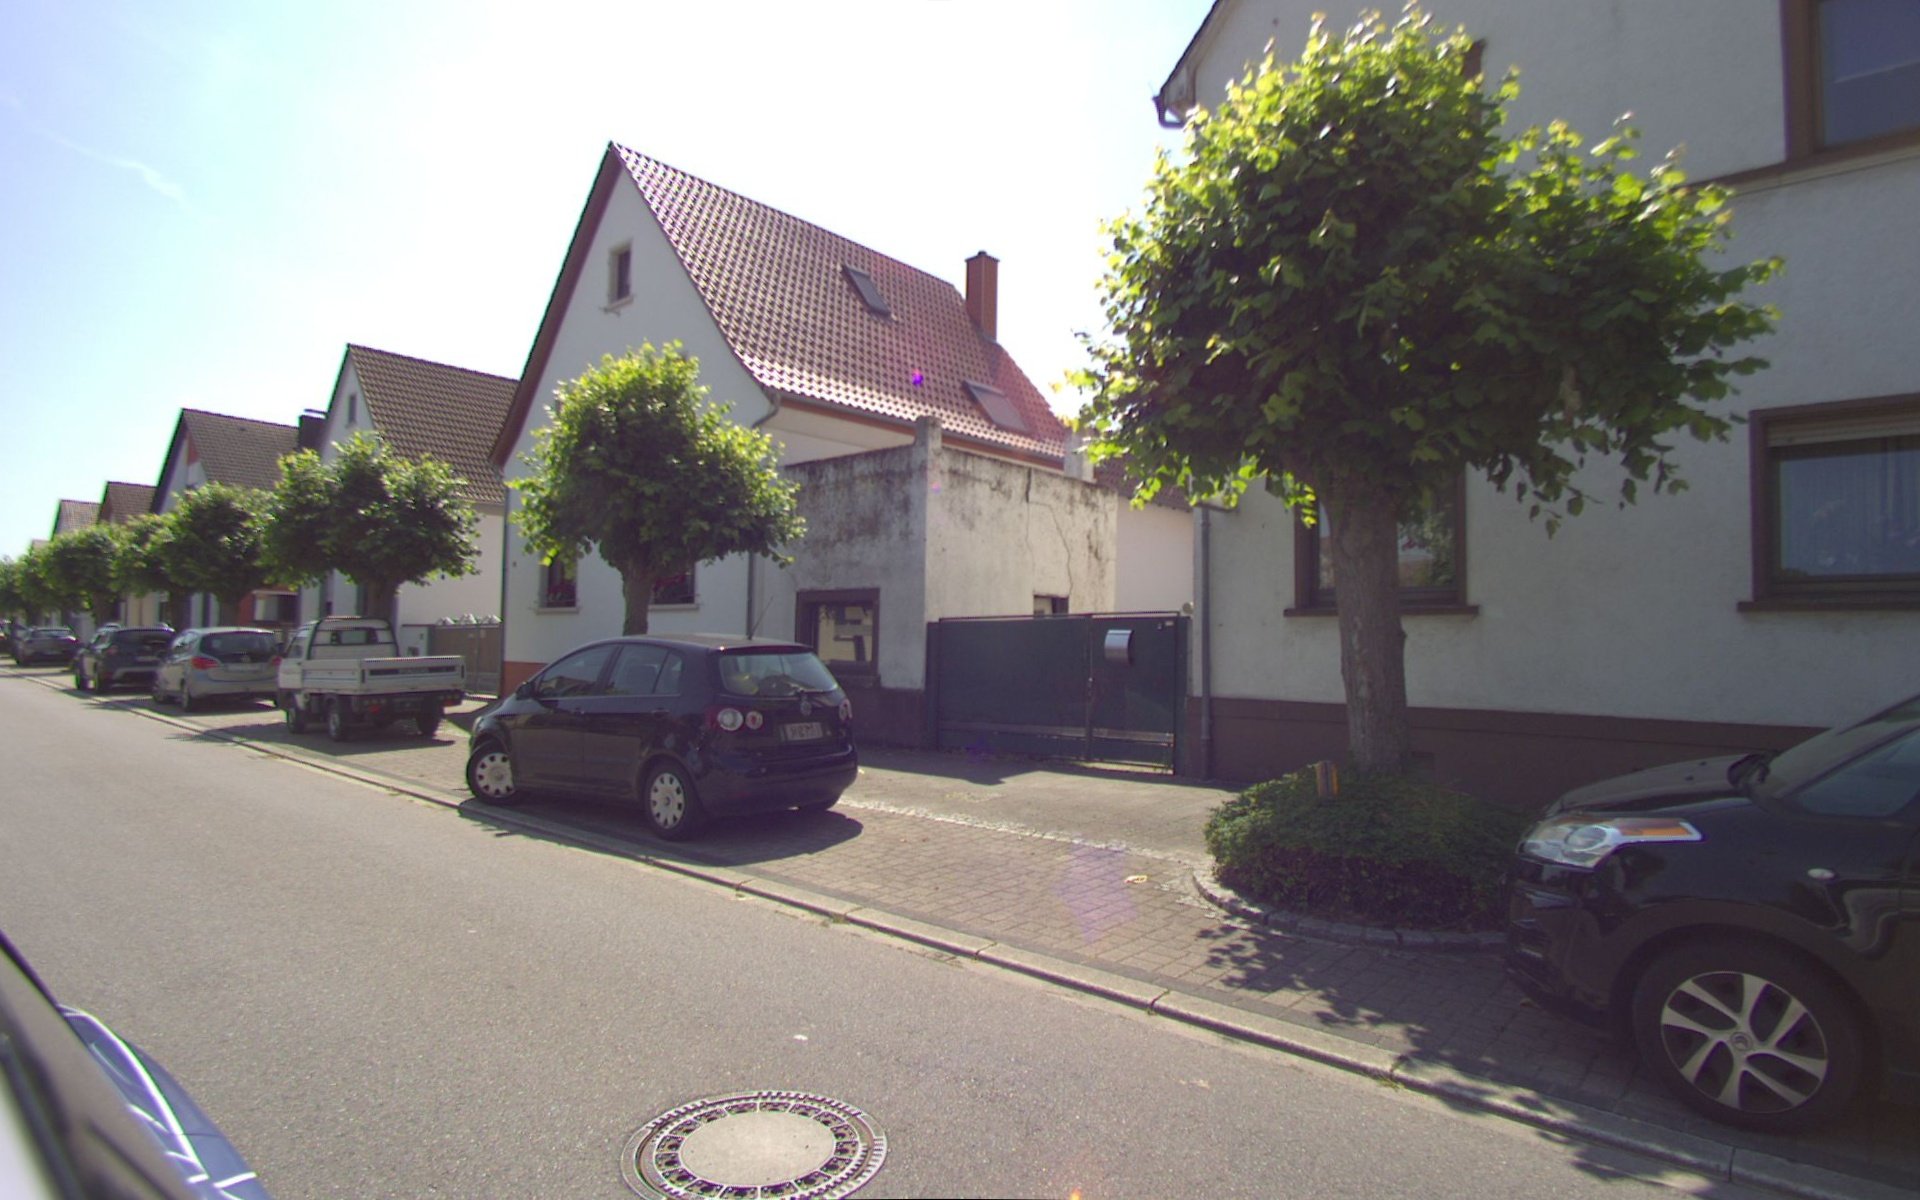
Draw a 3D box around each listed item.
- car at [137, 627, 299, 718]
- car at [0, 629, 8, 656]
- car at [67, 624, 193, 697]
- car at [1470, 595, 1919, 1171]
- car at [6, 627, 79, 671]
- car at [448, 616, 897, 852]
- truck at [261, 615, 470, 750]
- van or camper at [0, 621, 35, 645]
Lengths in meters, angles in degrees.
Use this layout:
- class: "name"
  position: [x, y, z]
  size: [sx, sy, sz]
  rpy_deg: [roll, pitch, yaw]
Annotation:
- class: "car"
  position: [-15.330, 1.397, 20.816]
  size: [4.369, 1.625, 1.833]
  rpy_deg: [-1, -1, 42]
- class: "car"
  position: [-56.703, 2.474, 58.732]
  size: [4.131, 1.494, 1.805]
  rpy_deg: [-1, -1, 42]
- class: "car"
  position: [-20.957, 1.475, 25.491]
  size: [4.297, 1.649, 1.833]
  rpy_deg: [-2, -2, 42]
- class: "car"
  position: [3.980, 0.808, 3.026]
  size: [4.055, 1.647, 1.833]
  rpy_deg: [-1, -1, 42]
- class: "car"
  position: [-36.046, 1.881, 39.716]
  size: [4.136, 1.625, 1.832]
  rpy_deg: [-1, -1, 44]
- class: "car"
  position: [-2.653, 0.982, 8.991]
  size: [3.992, 1.646, 1.769]
  rpy_deg: [-1, -2, 36]
- class: "truck"
  position: [-9.153, 1.133, 15.433]
  size: [4.191, 1.779, 1.559]
  rpy_deg: [-1, -1, 42]
- class: "van or camper"
  position: [-75.864, 2.632, 79.412]
  size: [1.999, 1.877, 4.691]
  rpy_deg: [-2, -2, 41]
